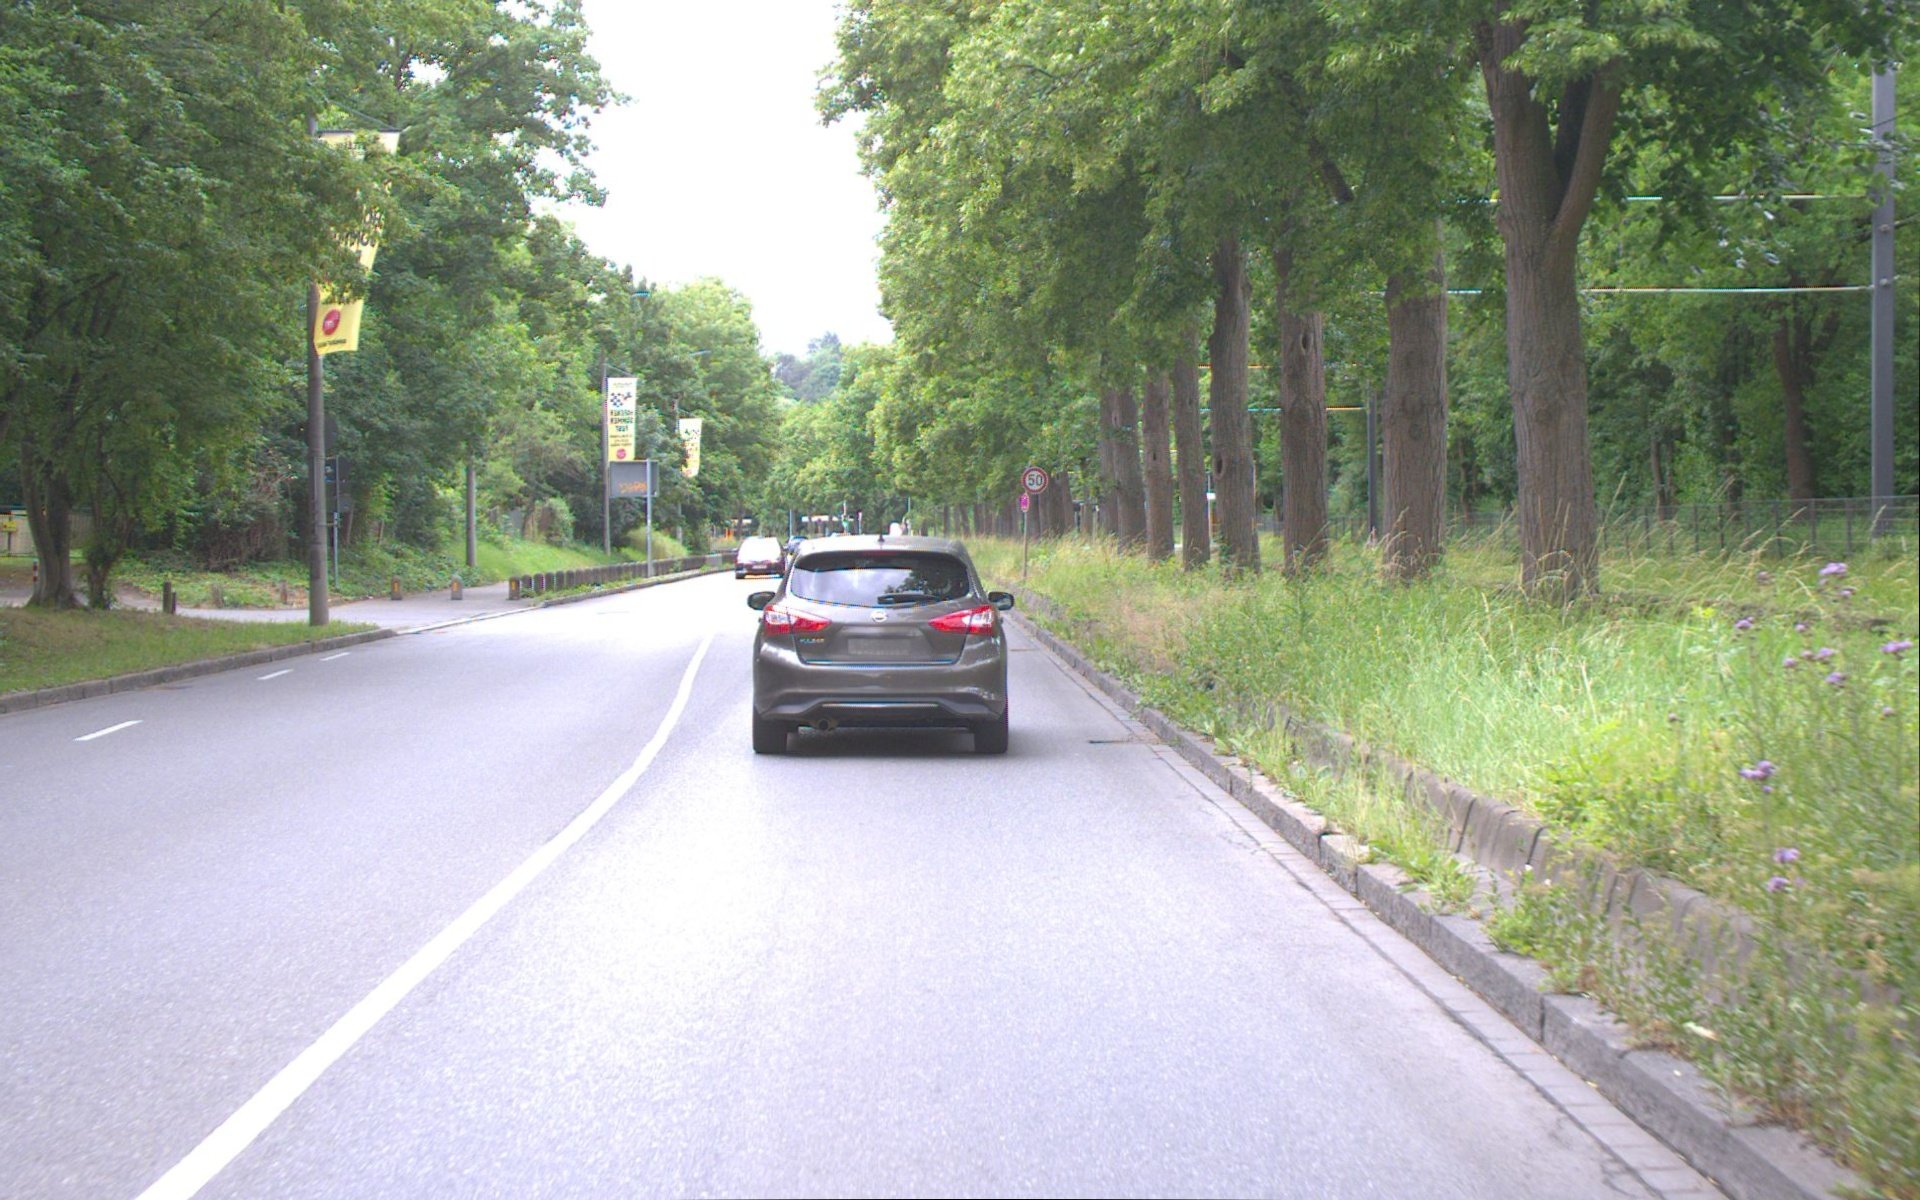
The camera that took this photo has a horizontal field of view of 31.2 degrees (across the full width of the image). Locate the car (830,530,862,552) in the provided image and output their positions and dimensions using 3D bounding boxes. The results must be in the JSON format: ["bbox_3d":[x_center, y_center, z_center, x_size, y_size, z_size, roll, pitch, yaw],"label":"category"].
[{"bbox_3d":[-7.950,-4.128,239.944,1.561,1.436,3.553,1,1,-14],"label":"car"}]

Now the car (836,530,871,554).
[{"bbox_3d":[-6.508,-3.541,209.637,1.561,1.436,3.553,1,1,-11],"label":"car"}]

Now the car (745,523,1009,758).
[{"bbox_3d":[-0.599,0.238,24.659,1.730,1.532,3.552,1,1,-2],"label":"car"}]

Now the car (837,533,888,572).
[{"bbox_3d":[-3.675,-1.803,129.712,1.561,1.436,3.551,1,1,4],"label":"car"}]

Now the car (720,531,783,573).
[{"bbox_3d":[-7.369,-1.710,121.602,1.716,1.423,4.197,-2,1,3],"label":"car"}]
